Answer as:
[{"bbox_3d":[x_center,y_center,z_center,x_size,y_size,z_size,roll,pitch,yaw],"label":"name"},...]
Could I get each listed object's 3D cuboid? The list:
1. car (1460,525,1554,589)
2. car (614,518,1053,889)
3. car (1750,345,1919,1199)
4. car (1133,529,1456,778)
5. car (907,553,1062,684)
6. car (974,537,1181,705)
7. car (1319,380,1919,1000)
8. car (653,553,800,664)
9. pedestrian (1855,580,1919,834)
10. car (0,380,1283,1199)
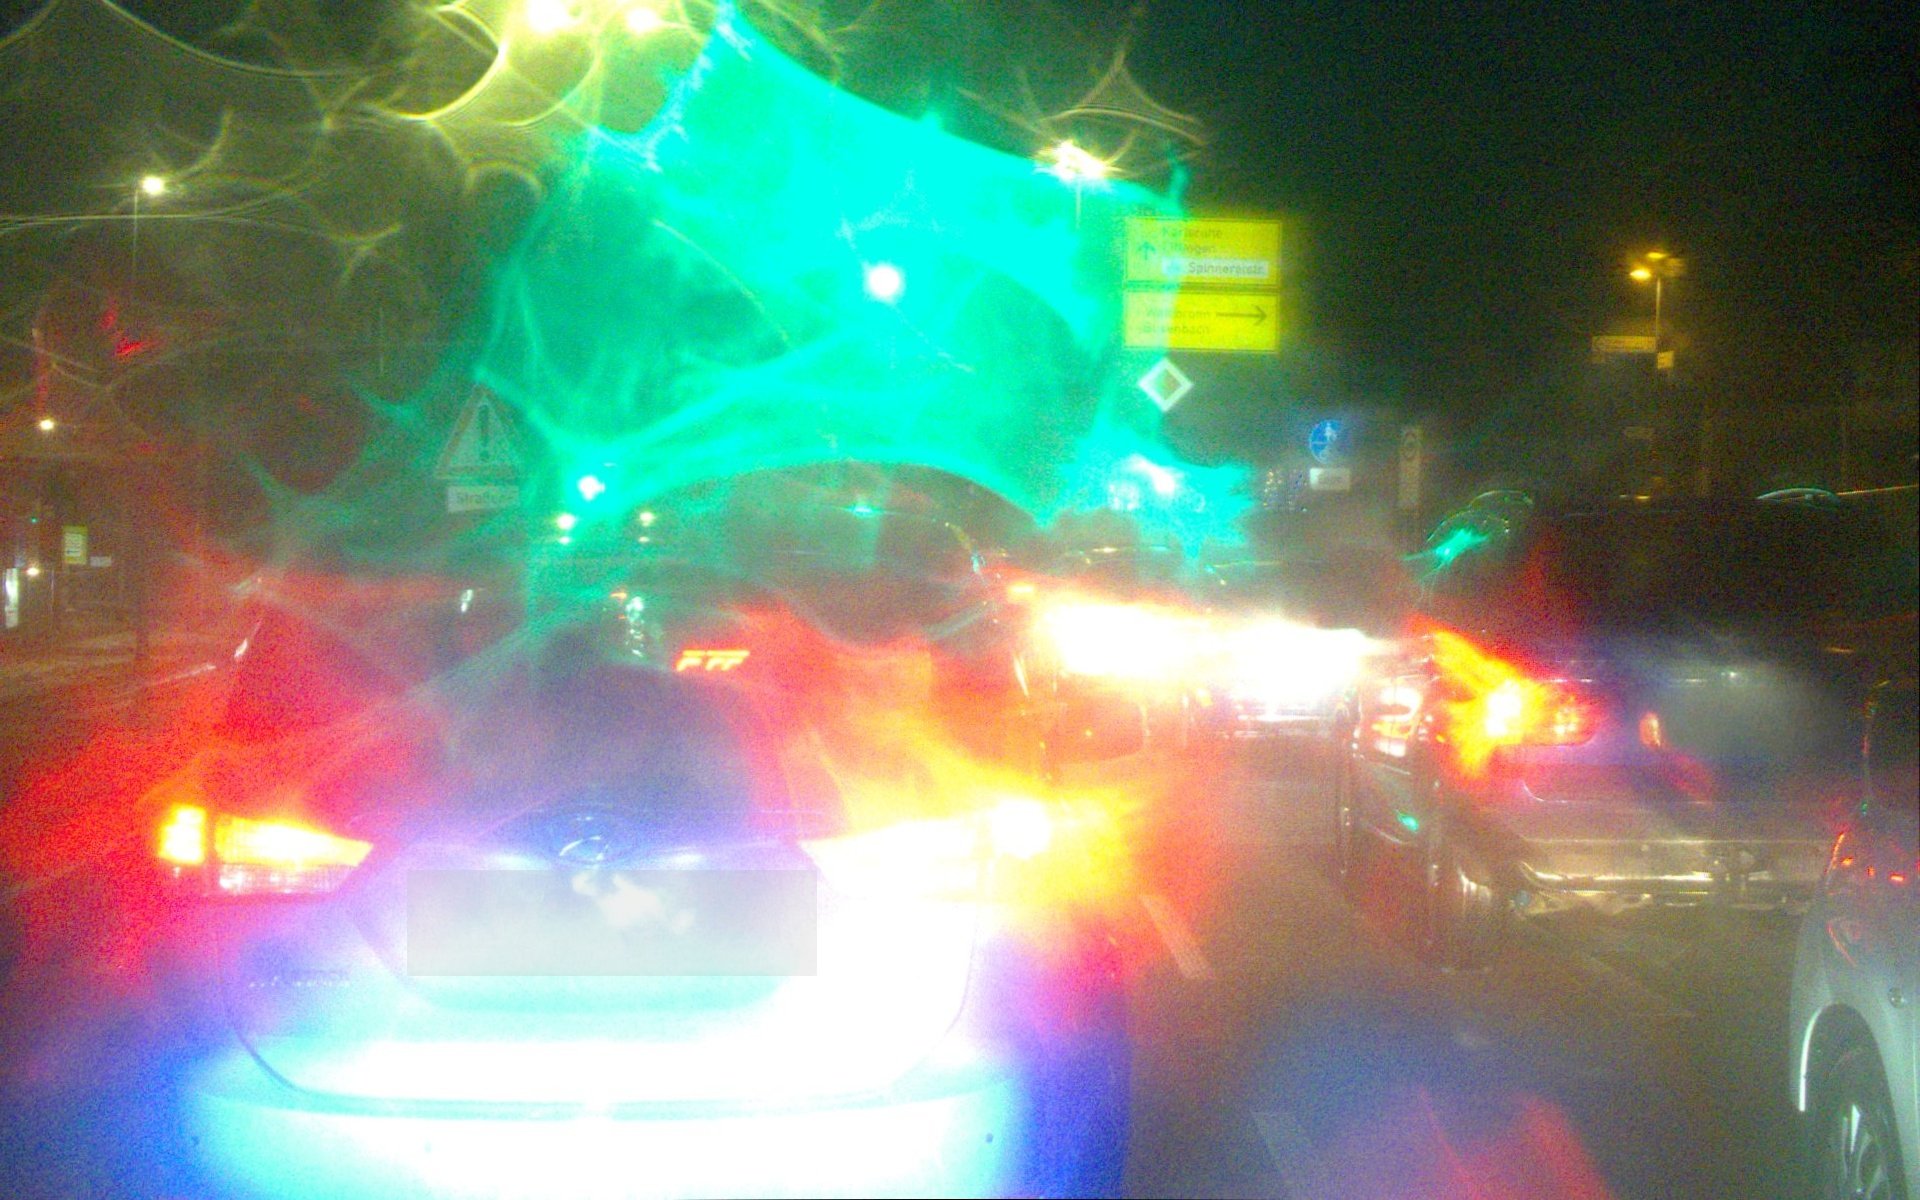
[{"bbox_3d":[14.896,-1.175,93.802,1.865,1.641,3.963,-2,1,0],"label":"car"},{"bbox_3d":[-0.605,0.458,17.824,1.993,1.678,4.000,1,0,-1],"label":"car"},{"bbox_3d":[2.486,0.539,4.471,1.851,1.858,4.341,1,0,-1],"label":"car"},{"bbox_3d":[2.447,0.356,26.103,1.993,1.712,4.000,1,0,-1],"label":"car"},{"bbox_3d":[0.311,0.239,49.185,1.993,1.767,4.000,1,0,-2],"label":"car"},{"bbox_3d":[1.190,0.193,36.579,1.993,1.664,4.000,1,0,-1],"label":"car"},{"bbox_3d":[2.633,0.284,13.423,1.968,2.040,4.000,1,0,-1],"label":"car"},{"bbox_3d":[-4.058,0.125,59.164,1.993,1.818,4.001,1,0,-11],"label":"car"},{"bbox_3d":[6.467,0.721,23.294,0.622,1.696,0.541,1,0,-3],"label":"pedestrian"},{"bbox_3d":[-0.570,0.515,7.473,2.014,1.711,4.452,1,0,-1],"label":"car"}]
